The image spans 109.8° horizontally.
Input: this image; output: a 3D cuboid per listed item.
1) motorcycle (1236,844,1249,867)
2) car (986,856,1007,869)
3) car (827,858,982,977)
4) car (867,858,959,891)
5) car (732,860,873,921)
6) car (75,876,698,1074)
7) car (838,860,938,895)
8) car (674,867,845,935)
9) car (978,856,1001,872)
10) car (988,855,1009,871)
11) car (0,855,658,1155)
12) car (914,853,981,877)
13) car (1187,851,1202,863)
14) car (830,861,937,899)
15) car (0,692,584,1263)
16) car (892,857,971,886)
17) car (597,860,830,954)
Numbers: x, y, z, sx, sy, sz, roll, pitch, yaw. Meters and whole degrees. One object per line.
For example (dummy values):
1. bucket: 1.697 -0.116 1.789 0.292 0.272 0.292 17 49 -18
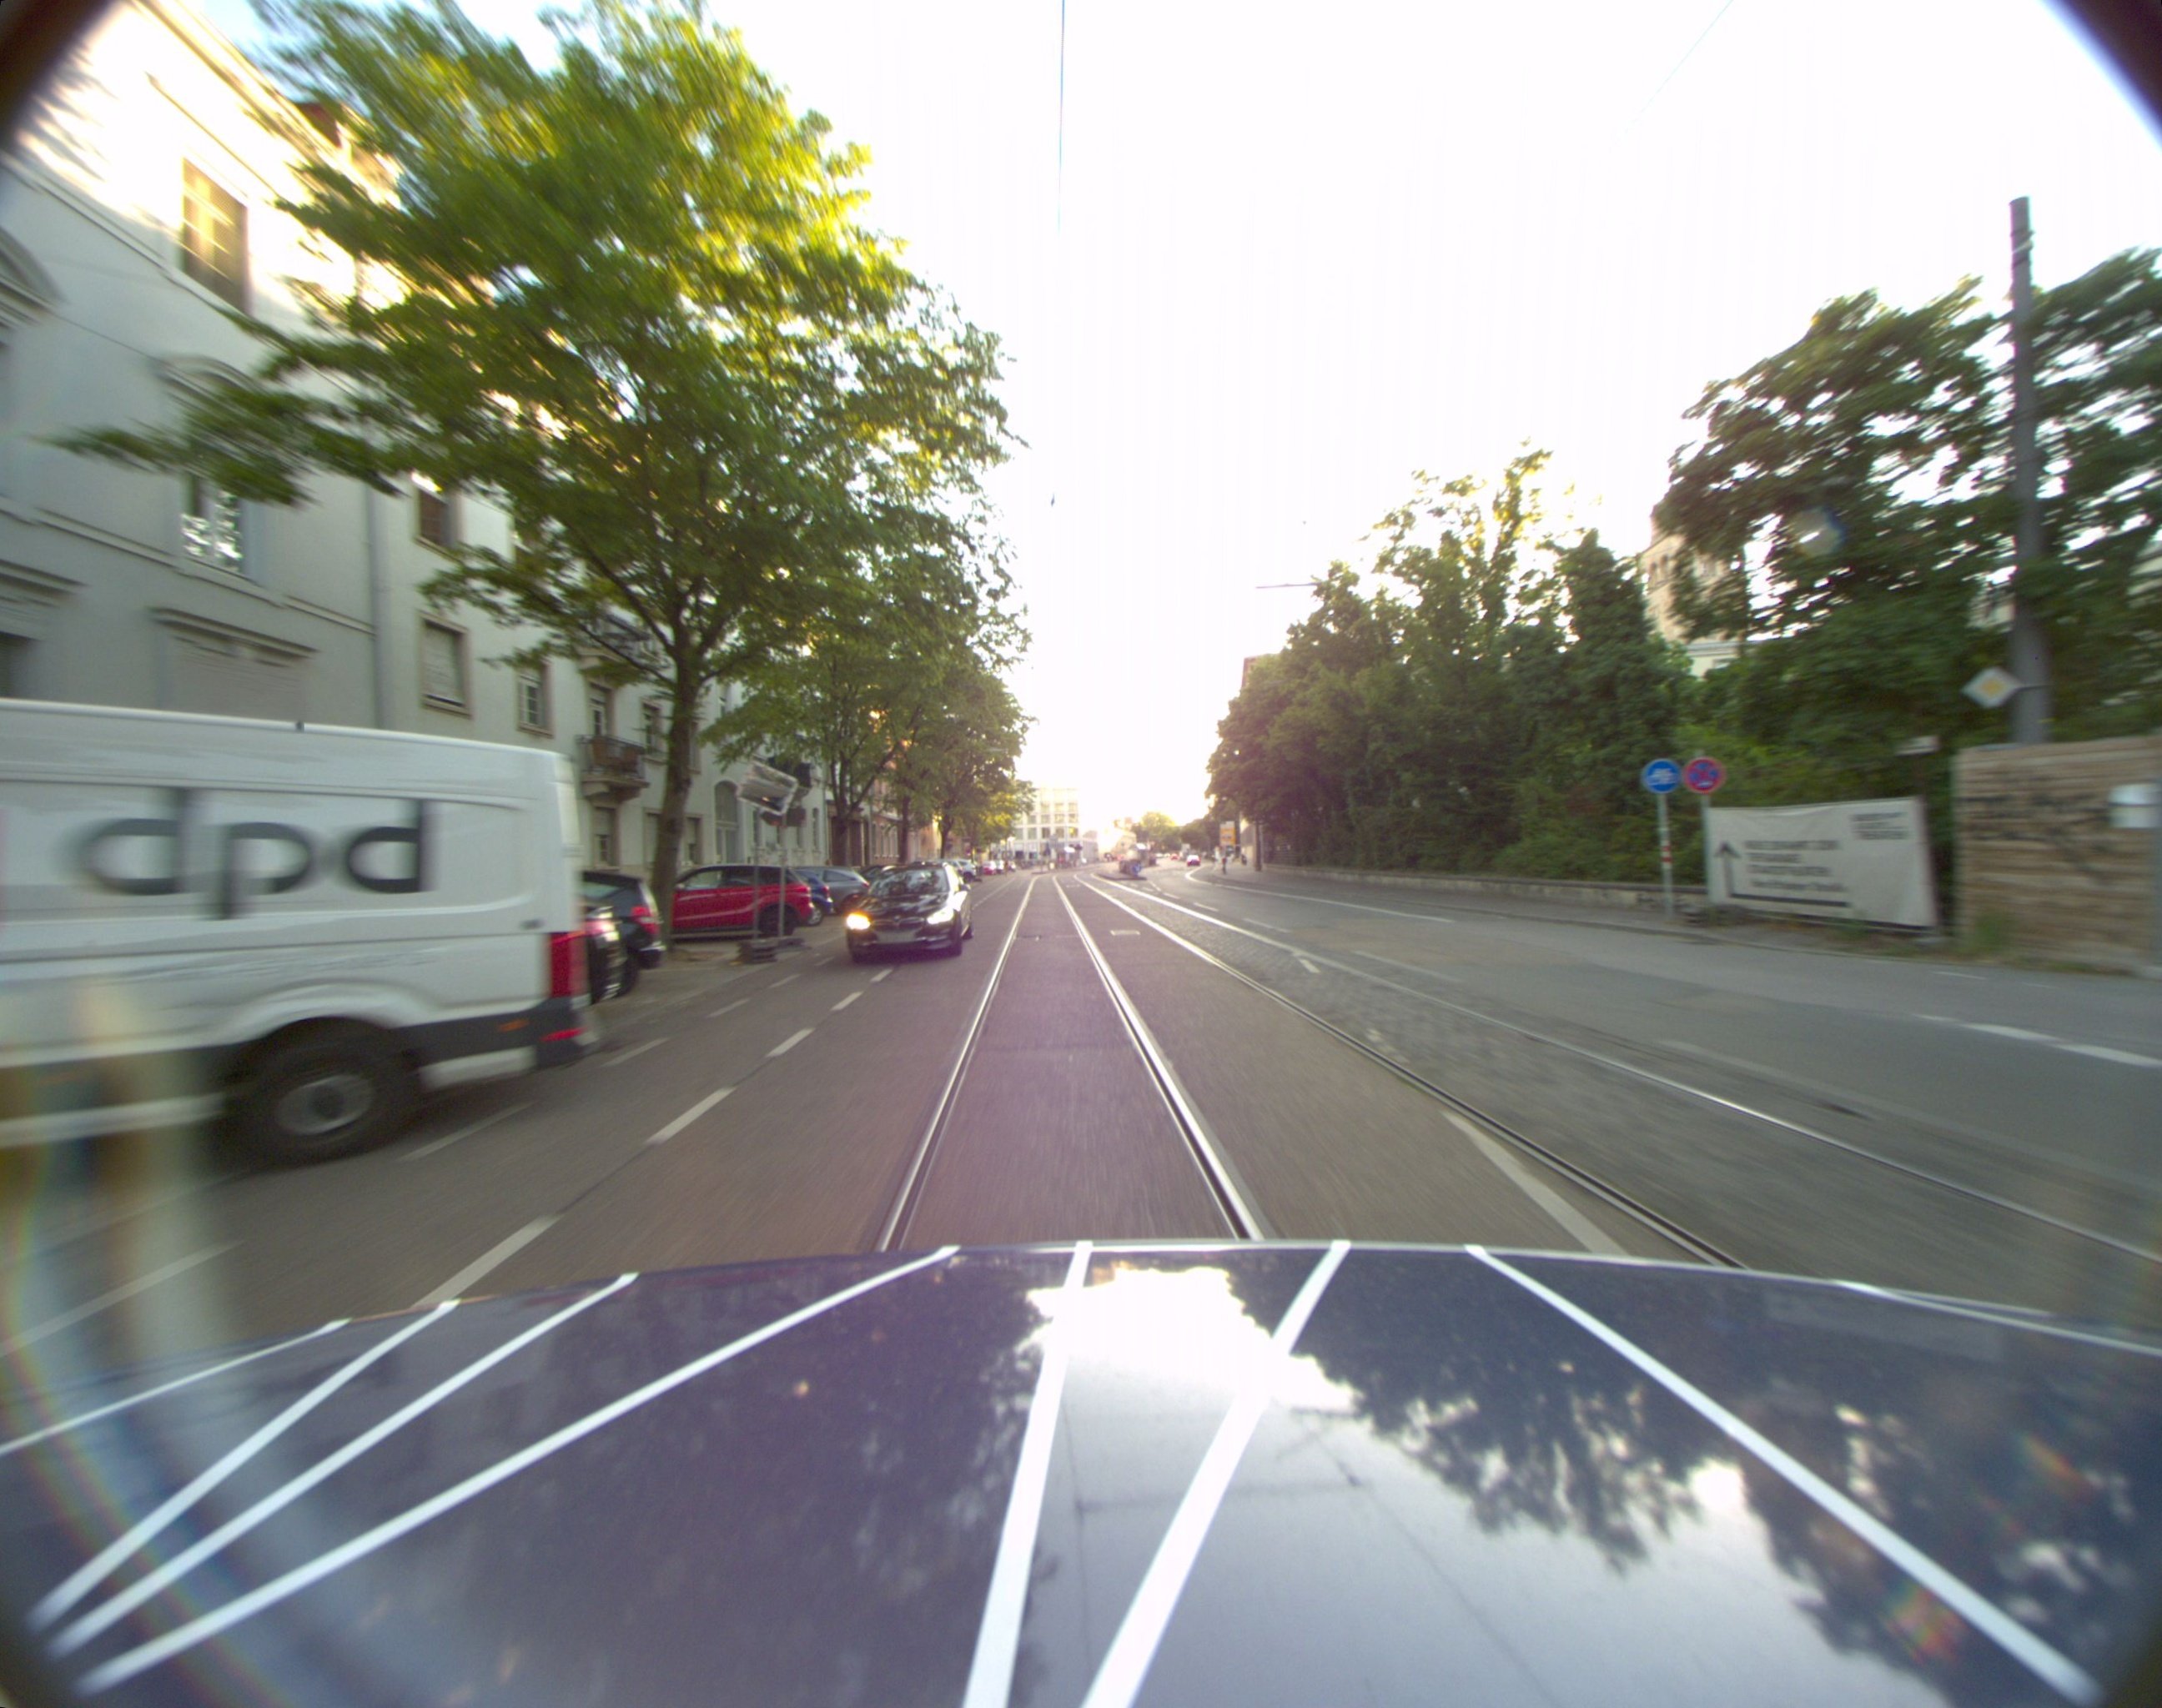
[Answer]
1. motorcycle: 17.593 0.104 82.604 1.022 2.429 2.668 -2 0 6
2. car: -10.661 1.051 96.027 1.954 1.600 4.272 -2 0 2
3. car: -2.957 0.977 13.664 1.840 1.631 4.167 -5 0 -2
4. car: -8.472 1.004 38.423 4.218 1.600 1.699 0 0 -32
5. car: -7.976 1.004 21.851 3.580 1.536 1.381 -2 0 -31
6. car: -7.534 1.158 9.084 5.034 1.593 1.891 -1 0 -34
7. car: -8.635 1.033 34.035 4.215 1.494 1.741 0 0 -19
8. car: -7.894 1.089 18.773 3.581 1.401 1.517 -2 0 -37
9. car: -9.522 1.005 79.428 1.742 1.600 3.822 -2 0 2
10. car: -9.180 0.989 84.904 1.742 1.600 3.822 -2 0 2
11. car: -6.970 1.021 6.409 5.650 1.884 2.166 -2 0 -37
12. car: -9.211 0.768 52.479 4.218 1.600 1.739 0 0 -32
13. car: 16.739 0.410 112.195 1.997 1.674 4.002 -1 0 7
14. car: -8.229 1.060 31.642 4.215 1.494 1.741 0 0 -19
15. car: -6.170 0.605 4.084 5.650 2.678 2.166 -2 0 -37
16. car: -8.742 0.985 44.456 4.218 1.600 1.739 0 0 -32
17. car: -7.578 1.010 15.873 4.126 1.631 1.739 -2 0 -29
